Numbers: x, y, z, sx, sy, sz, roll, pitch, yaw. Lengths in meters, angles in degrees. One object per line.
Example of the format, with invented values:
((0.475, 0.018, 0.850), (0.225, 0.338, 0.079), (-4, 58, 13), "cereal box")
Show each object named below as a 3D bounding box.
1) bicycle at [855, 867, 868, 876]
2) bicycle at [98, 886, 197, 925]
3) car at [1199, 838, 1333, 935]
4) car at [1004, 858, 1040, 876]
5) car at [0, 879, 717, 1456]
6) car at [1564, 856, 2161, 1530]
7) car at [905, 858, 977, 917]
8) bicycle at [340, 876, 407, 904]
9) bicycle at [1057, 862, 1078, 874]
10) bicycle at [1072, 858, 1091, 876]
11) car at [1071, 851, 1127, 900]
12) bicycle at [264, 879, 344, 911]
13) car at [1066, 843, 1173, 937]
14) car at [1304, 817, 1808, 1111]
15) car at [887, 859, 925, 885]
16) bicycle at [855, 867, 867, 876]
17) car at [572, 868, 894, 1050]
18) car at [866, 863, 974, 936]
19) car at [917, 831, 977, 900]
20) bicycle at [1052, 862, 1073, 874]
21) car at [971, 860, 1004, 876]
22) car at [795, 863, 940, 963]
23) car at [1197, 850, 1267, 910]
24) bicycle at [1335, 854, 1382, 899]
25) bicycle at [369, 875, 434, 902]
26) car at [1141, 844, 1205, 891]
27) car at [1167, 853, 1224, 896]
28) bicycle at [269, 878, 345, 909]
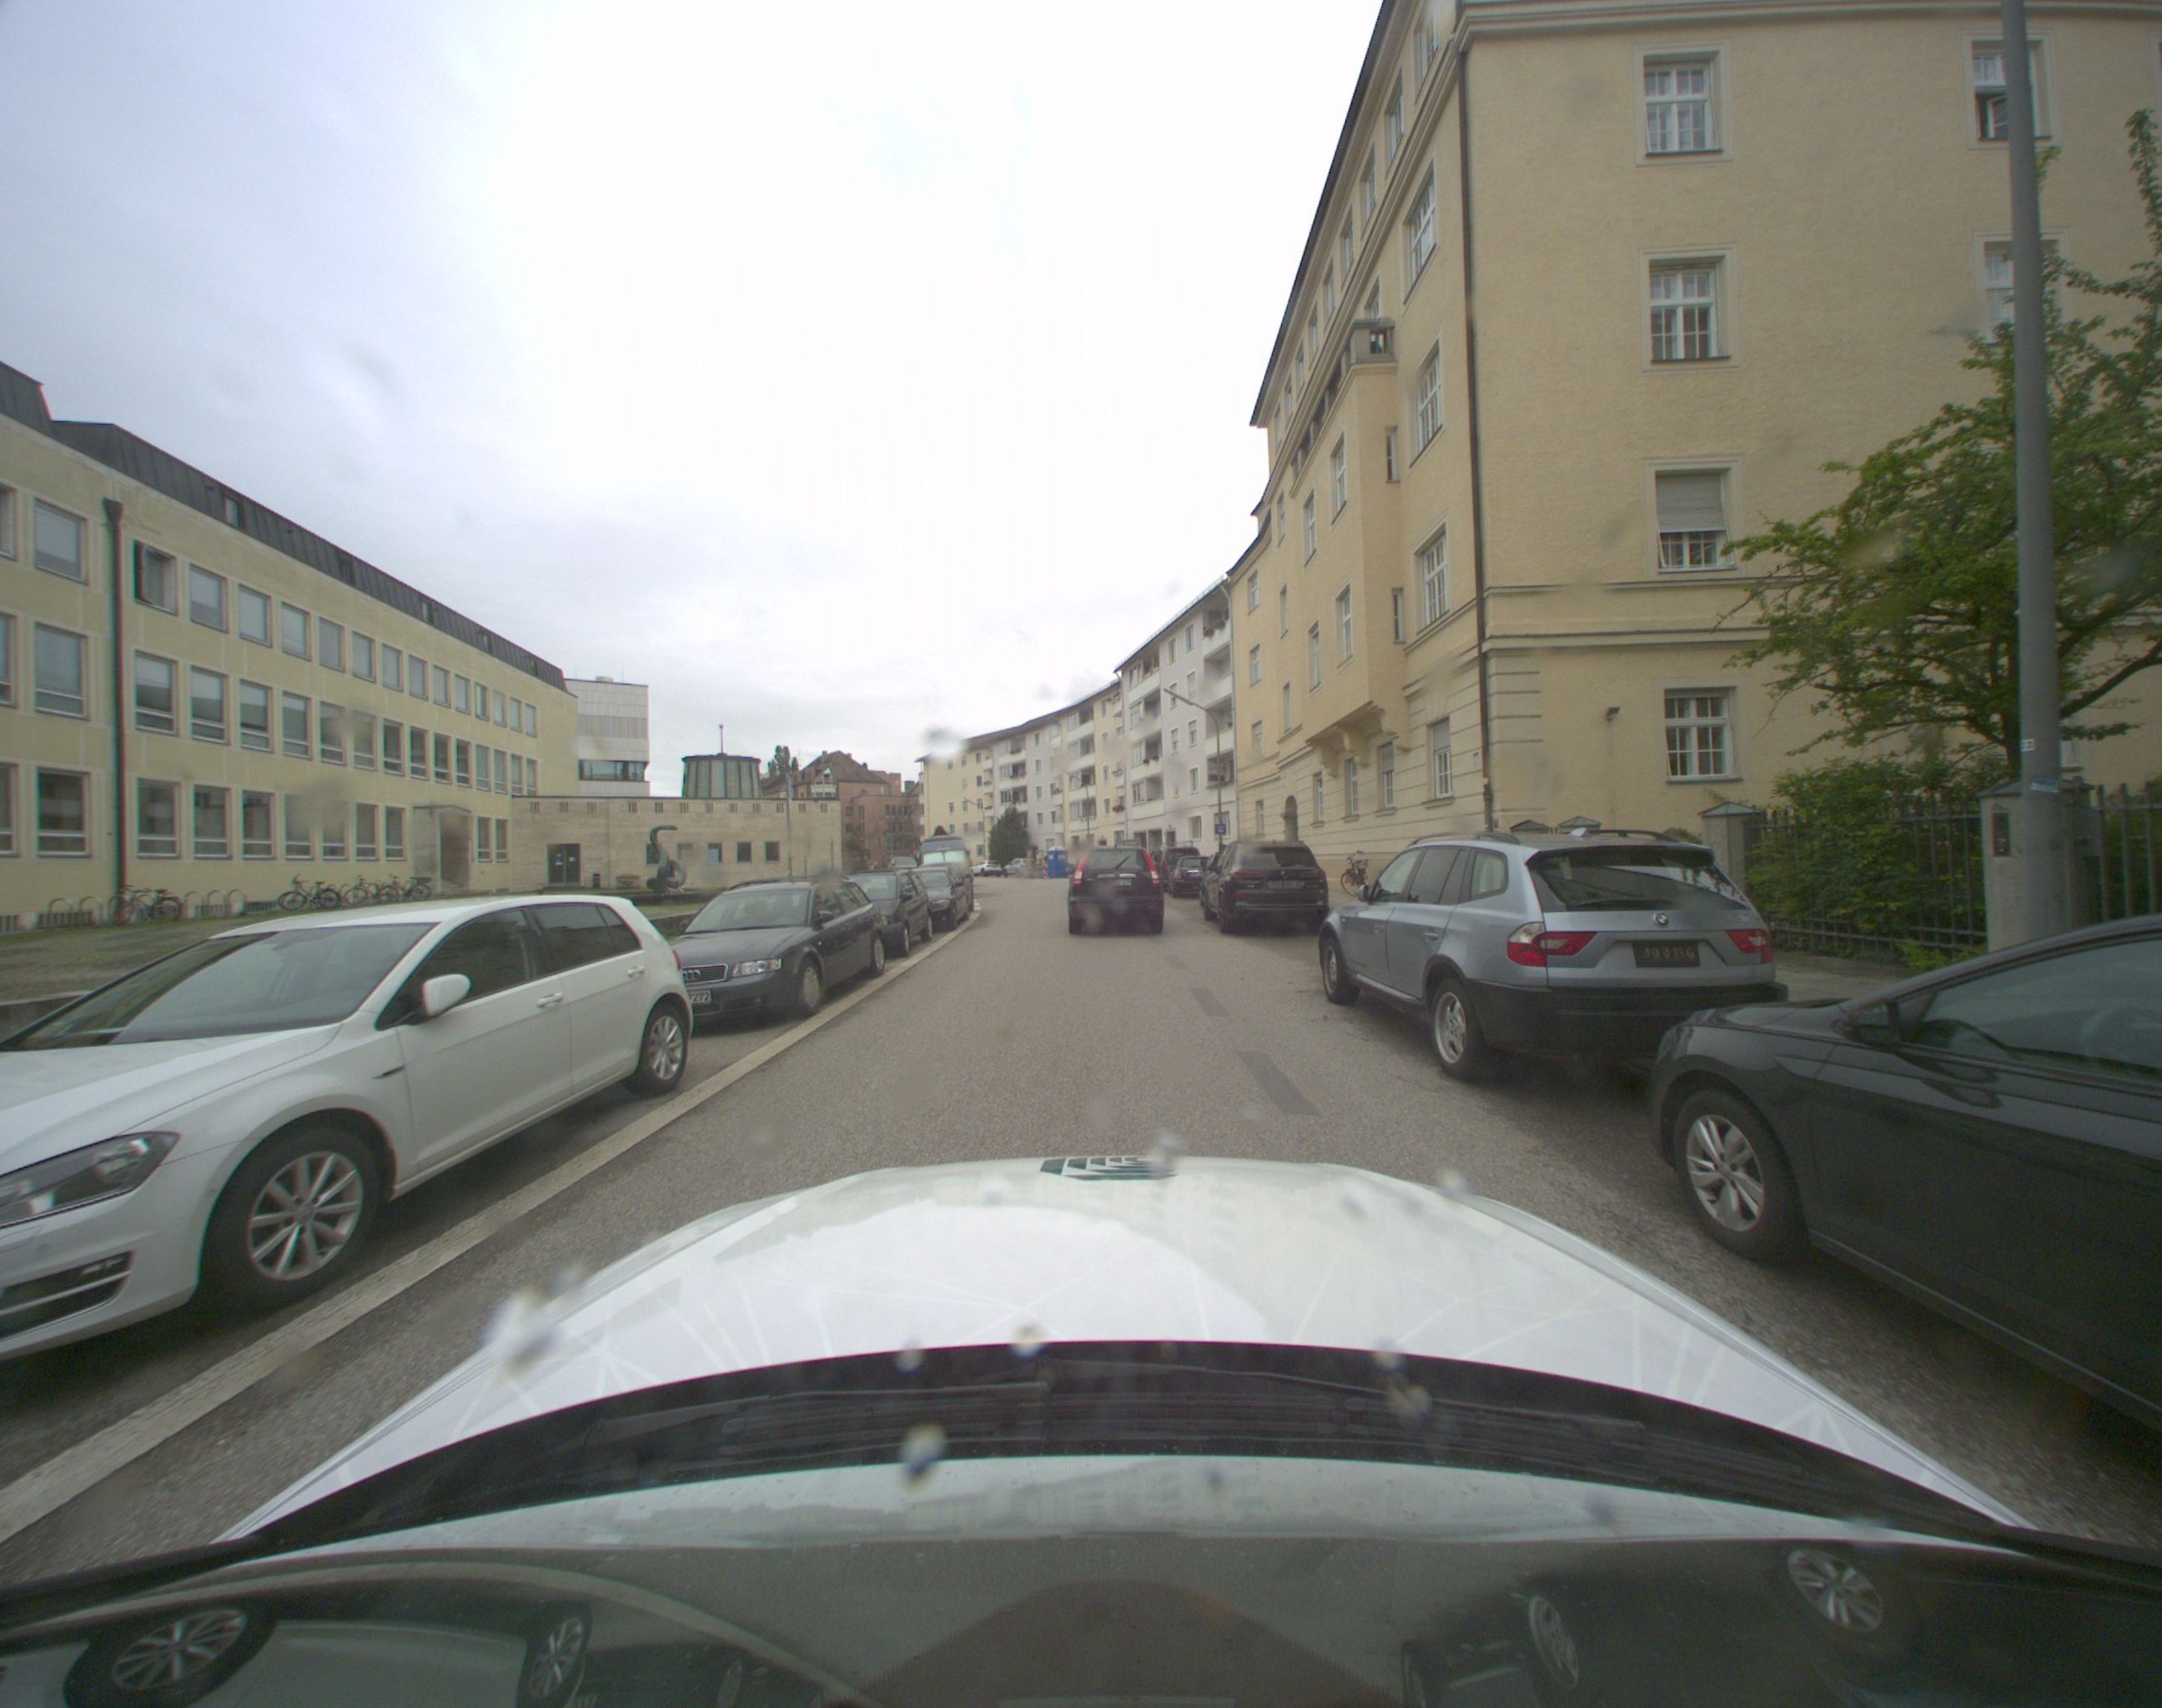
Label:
((-33.564, 2.643, 124.684), (1.764, 1.288, 0.548), (-1, -1, -29), "bicycle")
((-26.461, 1.444, 23.101), (1.943, 1.014, 0.624), (-1, 0, -5), "bicycle")
((3.643, 0.594, 16.936), (1.861, 1.717, 4.868), (0, 0, 2), "car")
((-5.171, 1.117, 70.809), (1.733, 1.483, 3.966), (-1, 0, -26), "car")
((-3.655, 0.962, 4.243), (1.652, 1.453, 4.071), (-3, 0, -1), "car")
((3.169, 0.734, 1.945), (1.673, 1.427, 4.088), (-1, 0, 1), "car")
((-3.968, 0.909, 23.535), (1.667, 1.502, 2.973), (-3, 0, -4), "car")
((-28.174, 1.416, 32.449), (1.949, 1.014, 0.623), (-1, 0, -13), "bicycle")
((-1.228, 1.260, 73.618), (1.872, 1.091, 0.562), (-1, -1, -20), "bicycle")
((0.003, 1.036, 65.885), (0.970, 1.388, 2.552), (-1, 0, -14), "bicycle")
((0.540, 0.688, 27.443), (1.674, 1.481, 4.084), (-1, 0, -1), "car")
((-27.286, 1.432, 28.638), (1.950, 1.014, 0.622), (-1, 0, -15), "bicycle")
((0.650, 0.656, 16.623), (1.885, 1.647, 3.989), (-1, 0, -1), "car")
((3.300, 0.639, 6.857), (1.716, 1.634, 4.459), (-1, 0, 2), "car")
((-12.479, 1.270, 57.807), (1.687, 1.707, 4.476), (-1, -1, -25), "car")
((-33.874, 2.681, 125.268), (1.764, 1.288, 0.548), (-1, -1, -29), "bicycle")
((-3.587, 0.966, 9.421), (1.749, 1.453, 4.395), (-3, 0, 0), "car")
((-3.669, 0.967, 19.318), (1.795, 1.406, 4.451), (-3, 0, -3), "car")
((-5.877, 0.461, 35.097), (2.166, 2.641, 5.992), (-3, 0, -12), "car")
((-1.802, 1.330, 77.300), (1.872, 1.091, 0.641), (-1, -1, -20), "bicycle")
((-9.193, 1.355, 79.846), (1.736, 1.483, 3.960), (0, 0, -32), "car")
((-3.628, 0.939, 14.406), (1.652, 1.453, 3.311), (-3, 0, -1), "car")
((4.092, 0.679, 22.440), (1.528, 1.524, 3.113), (0, 0, 3), "car")
((7.328, 0.570, 21.567), (0.577, 1.083, 1.954), (-4, 0, 2), "bicycle")
((-28.235, 1.425, 33.872), (1.953, 1.014, 0.621), (-1, 0, -20), "bicycle")
((3.753, 0.543, 34.006), (1.775, 1.807, 4.266), (0, 0, -6), "car")
((4.019, 0.694, 29.045), (1.701, 1.447, 3.833), (0, 0, 3), "car")
((-27.871, 1.412, 29.360), (1.946, 1.014, 0.623), (-1, 0, -9), "bicycle")
